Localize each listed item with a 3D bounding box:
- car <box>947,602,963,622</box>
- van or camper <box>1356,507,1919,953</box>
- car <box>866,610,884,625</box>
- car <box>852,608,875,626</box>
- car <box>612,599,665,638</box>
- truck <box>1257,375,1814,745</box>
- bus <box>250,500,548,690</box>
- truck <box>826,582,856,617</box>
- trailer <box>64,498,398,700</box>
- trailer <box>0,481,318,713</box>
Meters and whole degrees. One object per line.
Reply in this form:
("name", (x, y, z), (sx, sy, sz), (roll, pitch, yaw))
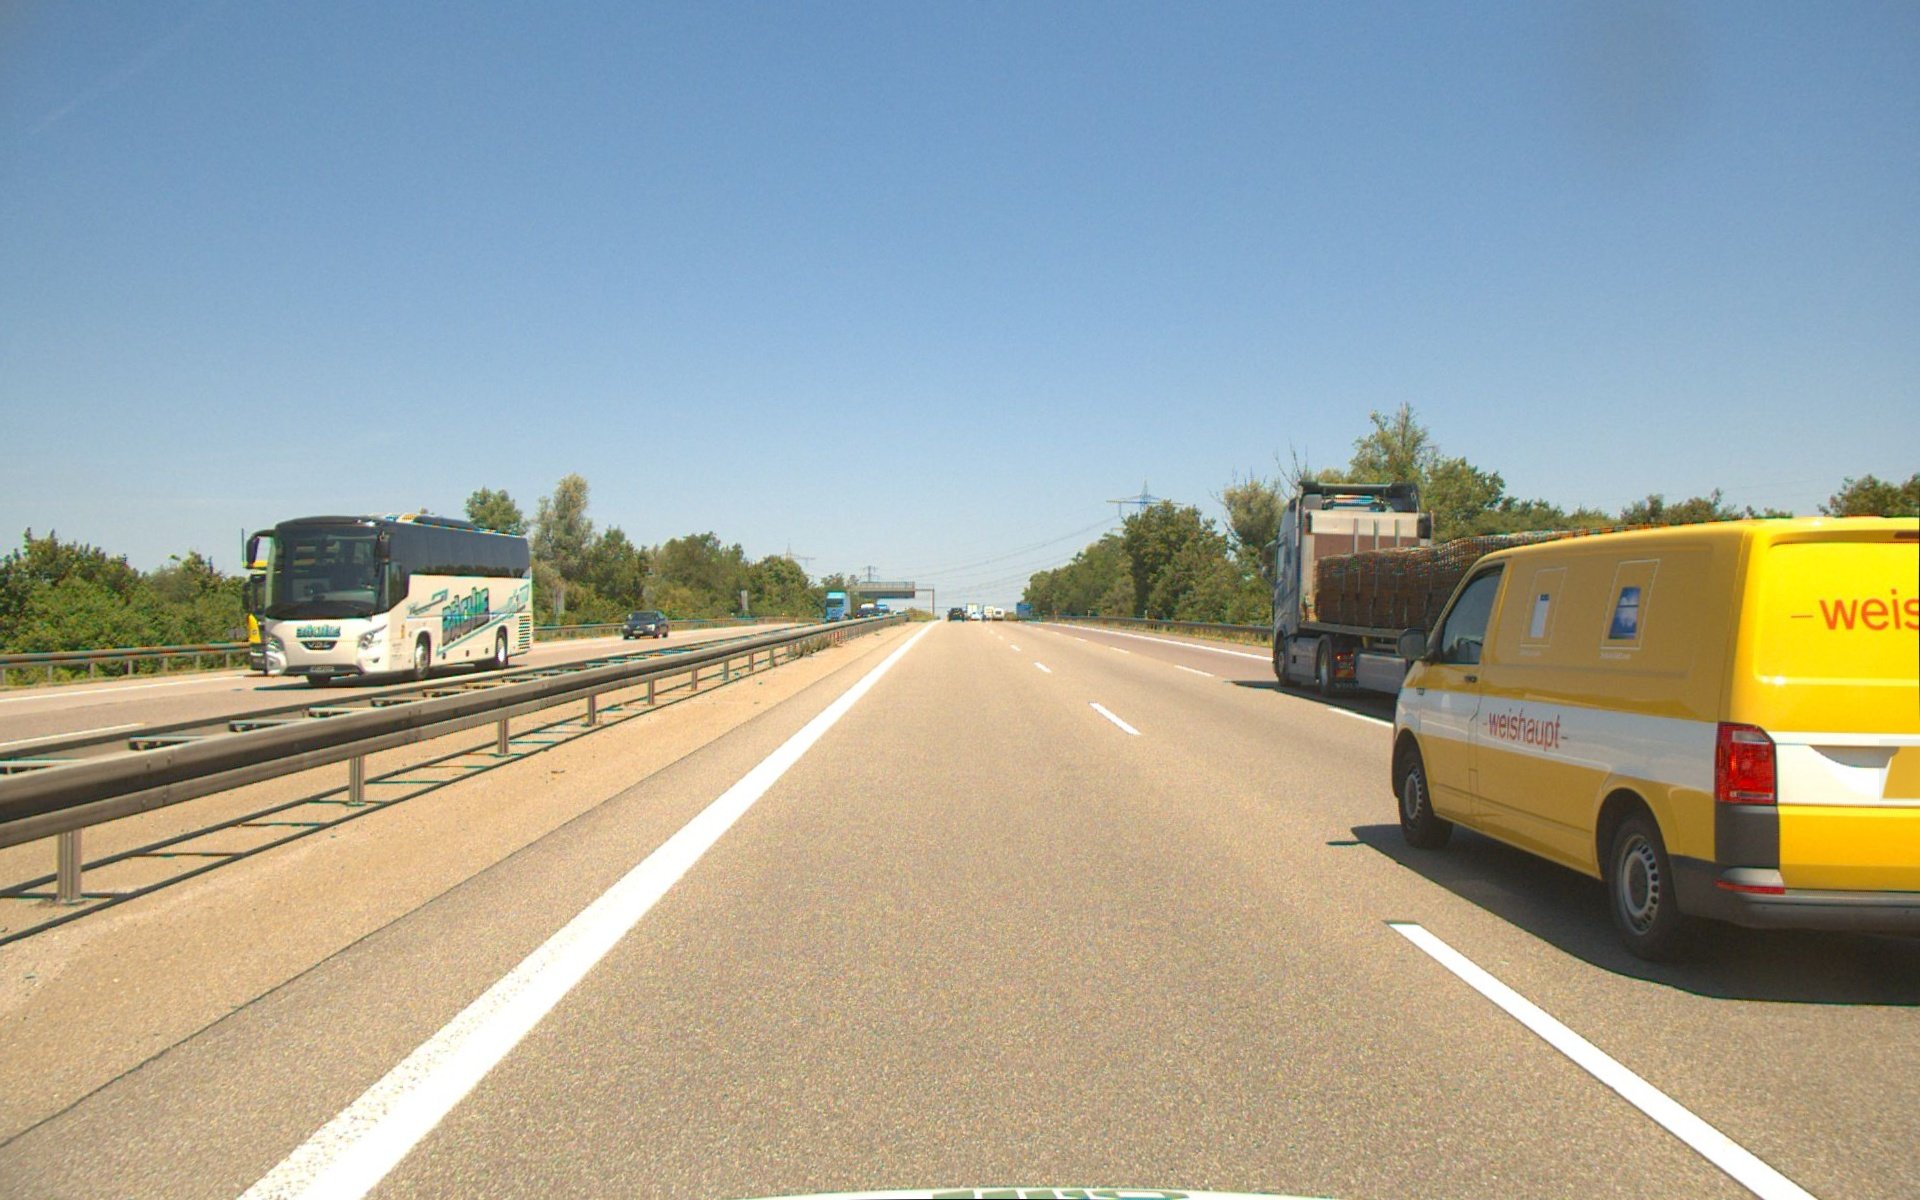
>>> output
("car", (-0.540, 1.303, 179.004), (1.755, 2.049, 3.887), (1, -1, 0))
("van or camper", (3.951, 0.583, 9.776), (1.953, 1.942, 4.970), (1, 0, -1))
("car", (-10.119, 2.062, 196.505), (1.953, 1.719, 4.408), (-1, 0, 0))
("car", (-10.199, 1.809, 175.209), (1.954, 1.632, 4.599), (-6, 0, 0))
("car", (-17.184, 0.969, 88.639), (1.954, 1.904, 4.580), (-4, 0, -2))
("truck", (7.848, -0.343, 26.549), (2.909, 4.026, 16.609), (1, -1, -1))
("bus", (-12.654, -0.101, 39.037), (2.639, 3.646, 12.791), (-2, 0, 0))
("truck", (-17.214, -0.004, 240.635), (3.160, 4.802, 16.855), (-3, 0, -1))
("trailer", (-16.969, -0.019, 39.847), (2.862, 4.037, 11.649), (-2, 0, -1))
("trailer", (-16.903, -0.027, 34.552), (2.862, 4.037, 10.534), (-2, 0, -1))
